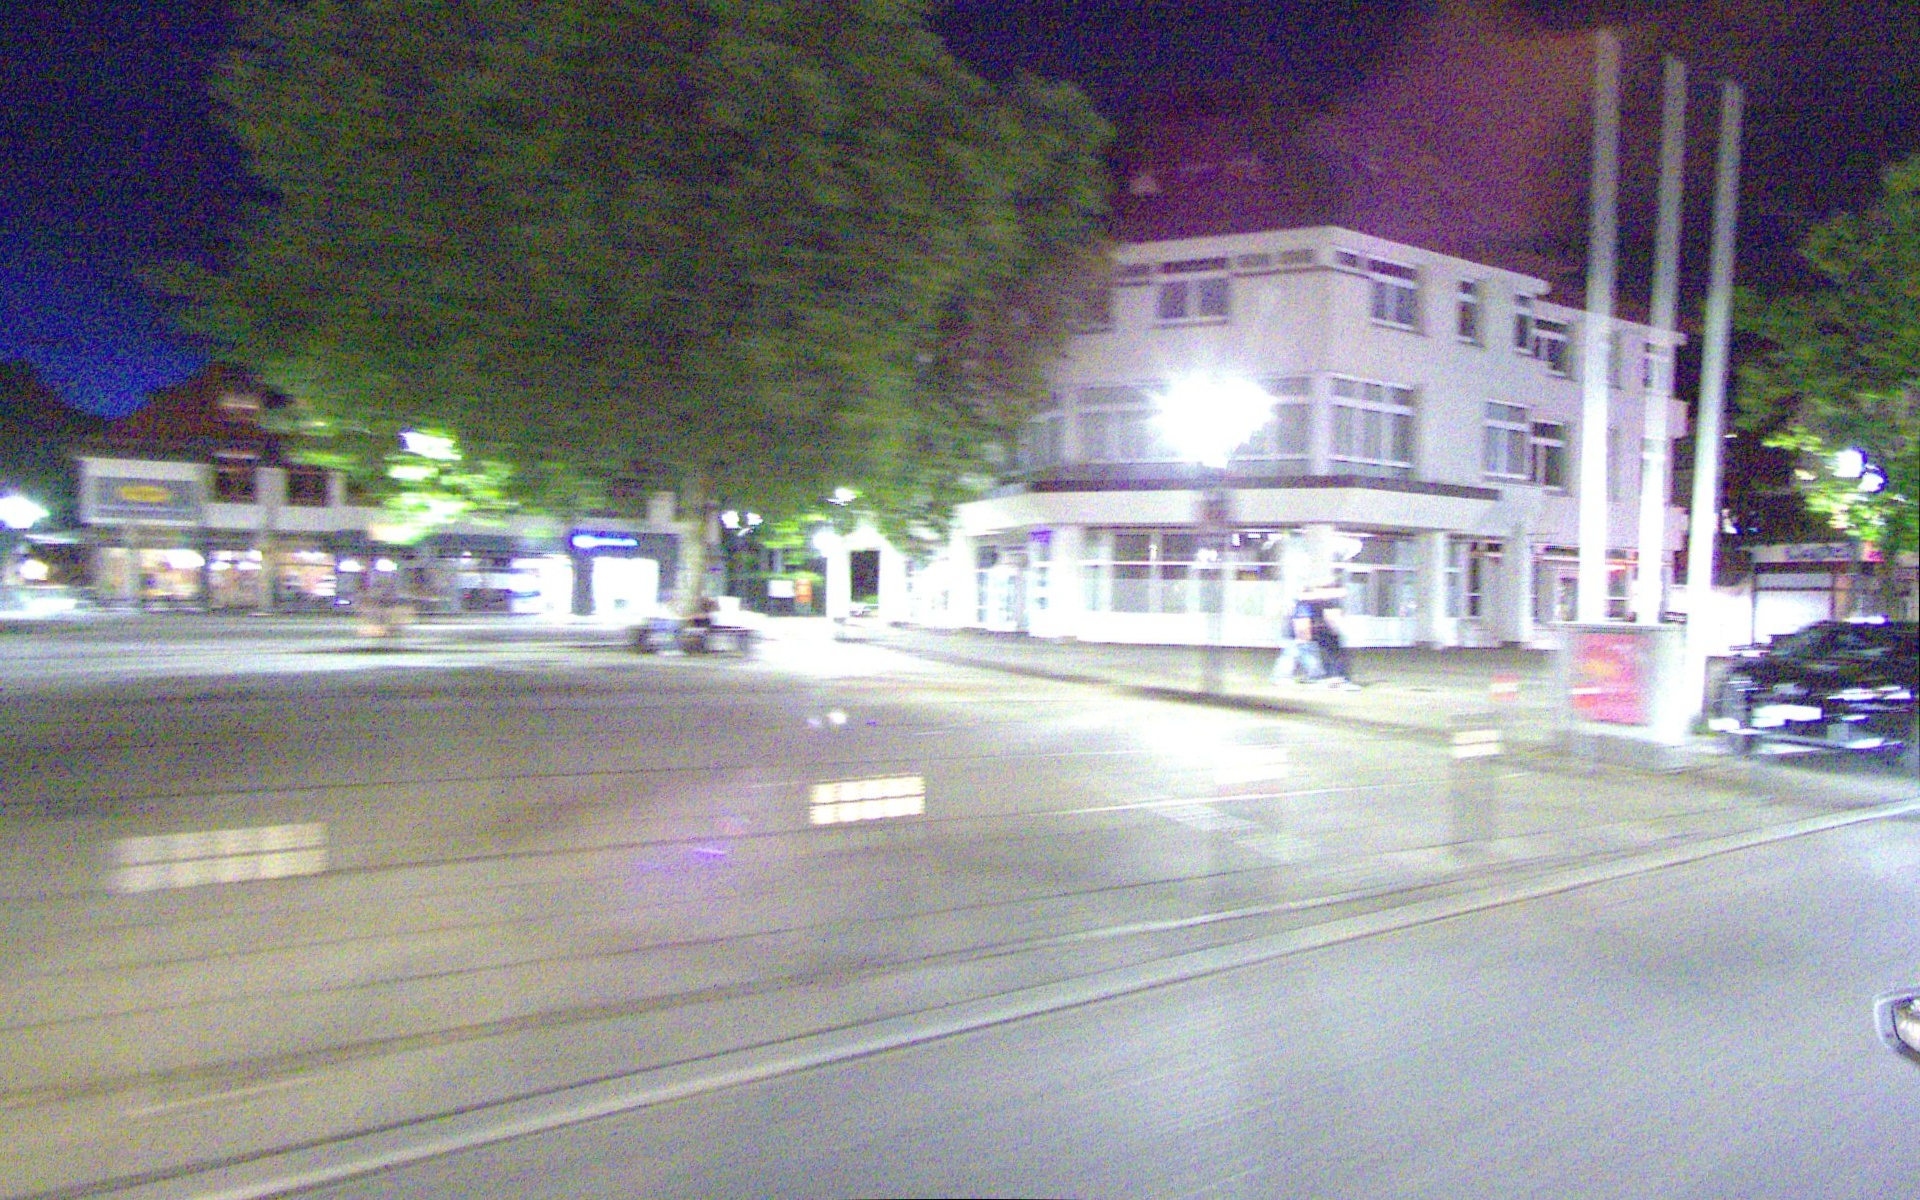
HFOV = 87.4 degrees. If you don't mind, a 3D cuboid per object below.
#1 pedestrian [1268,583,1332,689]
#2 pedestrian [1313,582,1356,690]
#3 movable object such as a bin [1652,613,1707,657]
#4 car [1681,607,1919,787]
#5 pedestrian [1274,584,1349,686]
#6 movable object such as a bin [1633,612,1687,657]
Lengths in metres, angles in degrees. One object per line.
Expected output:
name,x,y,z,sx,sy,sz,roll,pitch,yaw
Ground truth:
pedestrian,6.171,0.630,18.279,0.775,1.856,0.880,2,1,-3
pedestrian,6.558,0.629,17.599,0.494,1.846,0.502,2,-1,-5
movable object such as a bin,25.354,1.234,35.408,1.212,1.477,1.126,2,0,-28
car,10.077,0.947,10.999,4.427,1.595,1.763,2,1,-29
pedestrian,6.596,0.640,18.878,1.005,1.841,0.793,2,1,-9
movable object such as a bin,24.223,1.190,34.772,1.270,1.463,1.032,2,0,-28
